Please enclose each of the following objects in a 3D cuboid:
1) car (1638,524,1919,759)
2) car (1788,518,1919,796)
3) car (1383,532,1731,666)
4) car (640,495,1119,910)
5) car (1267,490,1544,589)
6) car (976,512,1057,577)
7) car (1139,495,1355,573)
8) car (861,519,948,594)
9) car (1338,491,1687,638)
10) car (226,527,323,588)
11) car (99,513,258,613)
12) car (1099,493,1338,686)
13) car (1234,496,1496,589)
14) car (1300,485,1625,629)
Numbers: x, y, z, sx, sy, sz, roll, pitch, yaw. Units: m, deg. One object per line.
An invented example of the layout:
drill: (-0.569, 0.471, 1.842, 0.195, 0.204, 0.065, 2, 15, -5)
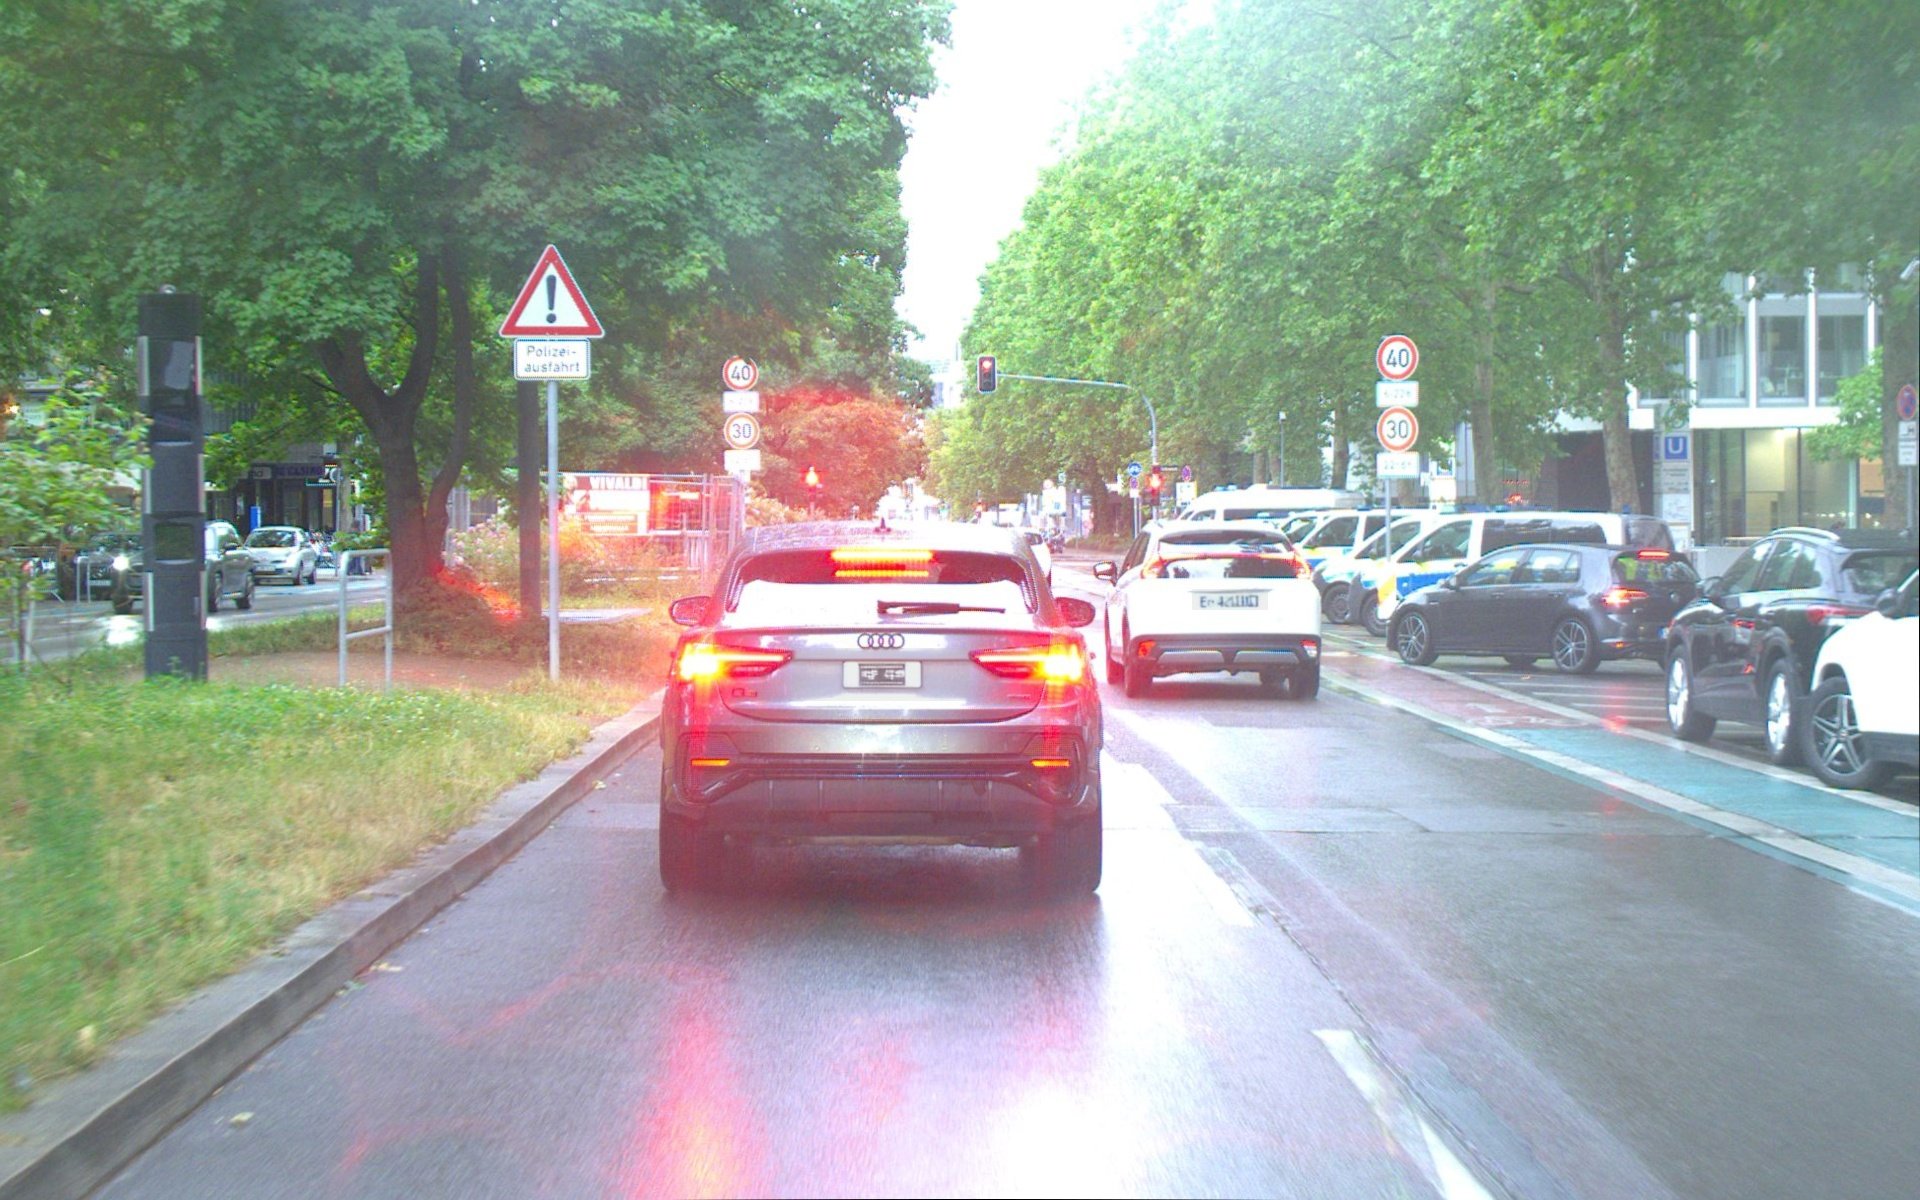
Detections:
car: (6.225, 0.252, 24.513, 1.695, 1.518, 4.024, 1, 1, -4)
car: (6.265, 0.341, 19.605, 1.727, 1.566, 4.074, 1, 1, -5)
car: (6.573, -0.036, 38.191, 1.558, 1.374, 3.870, 1, 1, -33)
car: (-0.382, 0.358, 15.386, 1.849, 1.596, 4.001, 1, 1, -2)
car: (8.248, -1.126, 63.684, 4.645, 1.700, 1.997, 2, 1, 27)
car: (1.490, -1.480, 91.672, 1.993, 1.645, 4.000, 1, 1, -1)
car: (6.784, -1.565, 81.219, 4.645, 1.700, 1.997, 2, 1, 27)
car: (-1.365, -1.059, 83.229, 1.993, 1.720, 4.000, 1, 1, -2)
car: (8.018, -0.533, 50.097, 4.602, 2.007, 1.964, 2, 1, 37)
car: (-17.769, -1.110, 89.226, 1.726, 1.513, 4.000, 1, 1, -1)
car: (-14.052, -0.678, 62.040, 1.760, 1.698, 4.333, 1, 1, 1)
car: (2.417, -0.121, 33.040, 1.878, 1.691, 4.000, 1, 1, -1)
car: (7.918, -1.129, 67.194, 4.645, 1.700, 1.997, 2, 1, 27)
car: (8.298, -0.723, 56.868, 4.889, 2.246, 1.997, 2, 1, 28)
